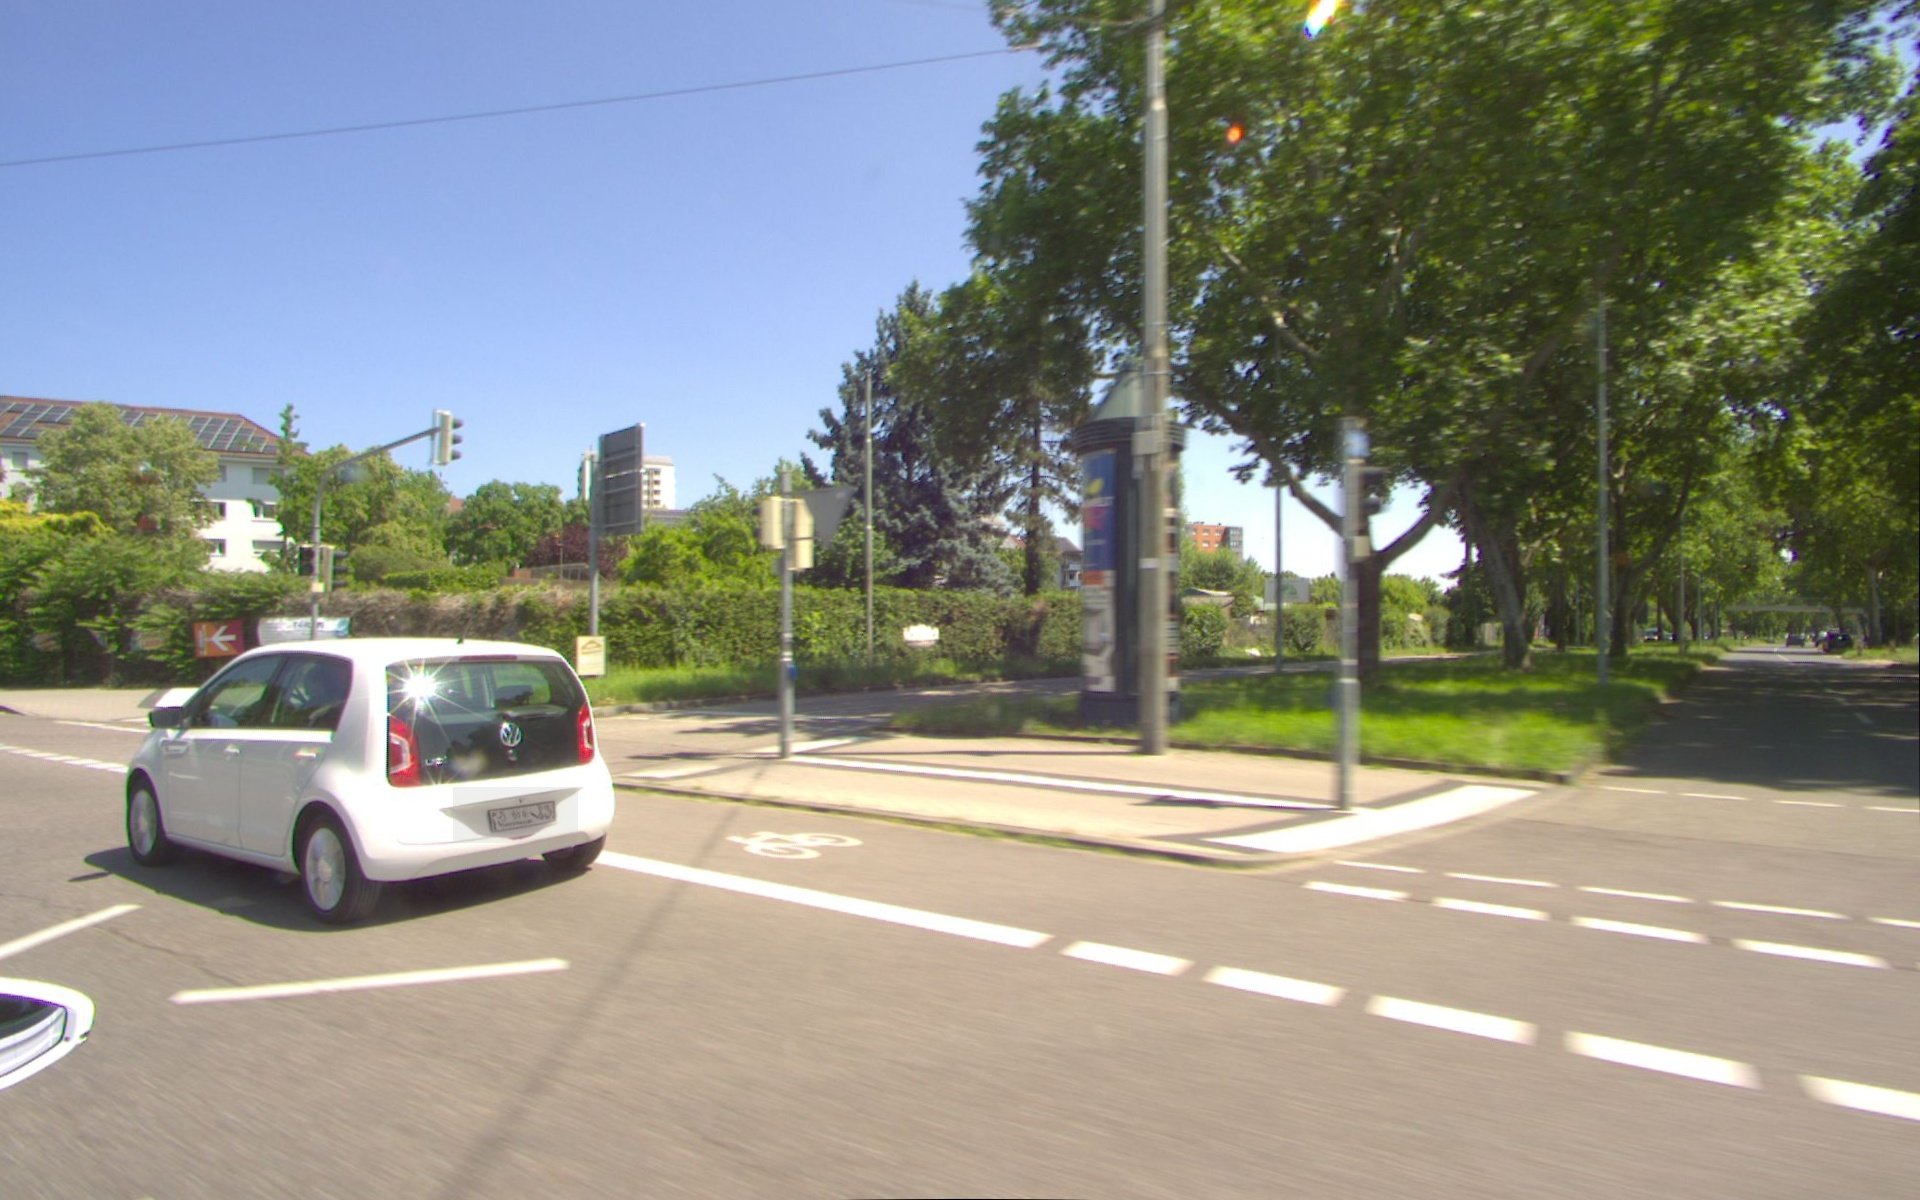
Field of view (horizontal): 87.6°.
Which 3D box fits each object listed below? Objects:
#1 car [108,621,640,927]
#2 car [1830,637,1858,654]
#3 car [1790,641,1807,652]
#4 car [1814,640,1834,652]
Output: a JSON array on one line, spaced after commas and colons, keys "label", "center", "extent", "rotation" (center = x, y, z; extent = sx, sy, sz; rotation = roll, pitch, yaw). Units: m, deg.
[{"label": "car", "center": [-3.851, 0.904, 6.475], "extent": [3.387, 1.465, 1.607], "rotation": [0, -3, 33]}, {"label": "car", "center": [78.724, 4.043, 89.177], "extent": [1.690, 1.463, 3.356], "rotation": [-2, -4, 44]}, {"label": "car", "center": [112.638, 6.257, 134.514], "extent": [1.476, 1.463, 3.323], "rotation": [-2, -3, 44]}, {"label": "car", "center": [108.869, 5.837, 126.164], "extent": [1.690, 1.463, 3.355], "rotation": [-2, -3, 44]}]
